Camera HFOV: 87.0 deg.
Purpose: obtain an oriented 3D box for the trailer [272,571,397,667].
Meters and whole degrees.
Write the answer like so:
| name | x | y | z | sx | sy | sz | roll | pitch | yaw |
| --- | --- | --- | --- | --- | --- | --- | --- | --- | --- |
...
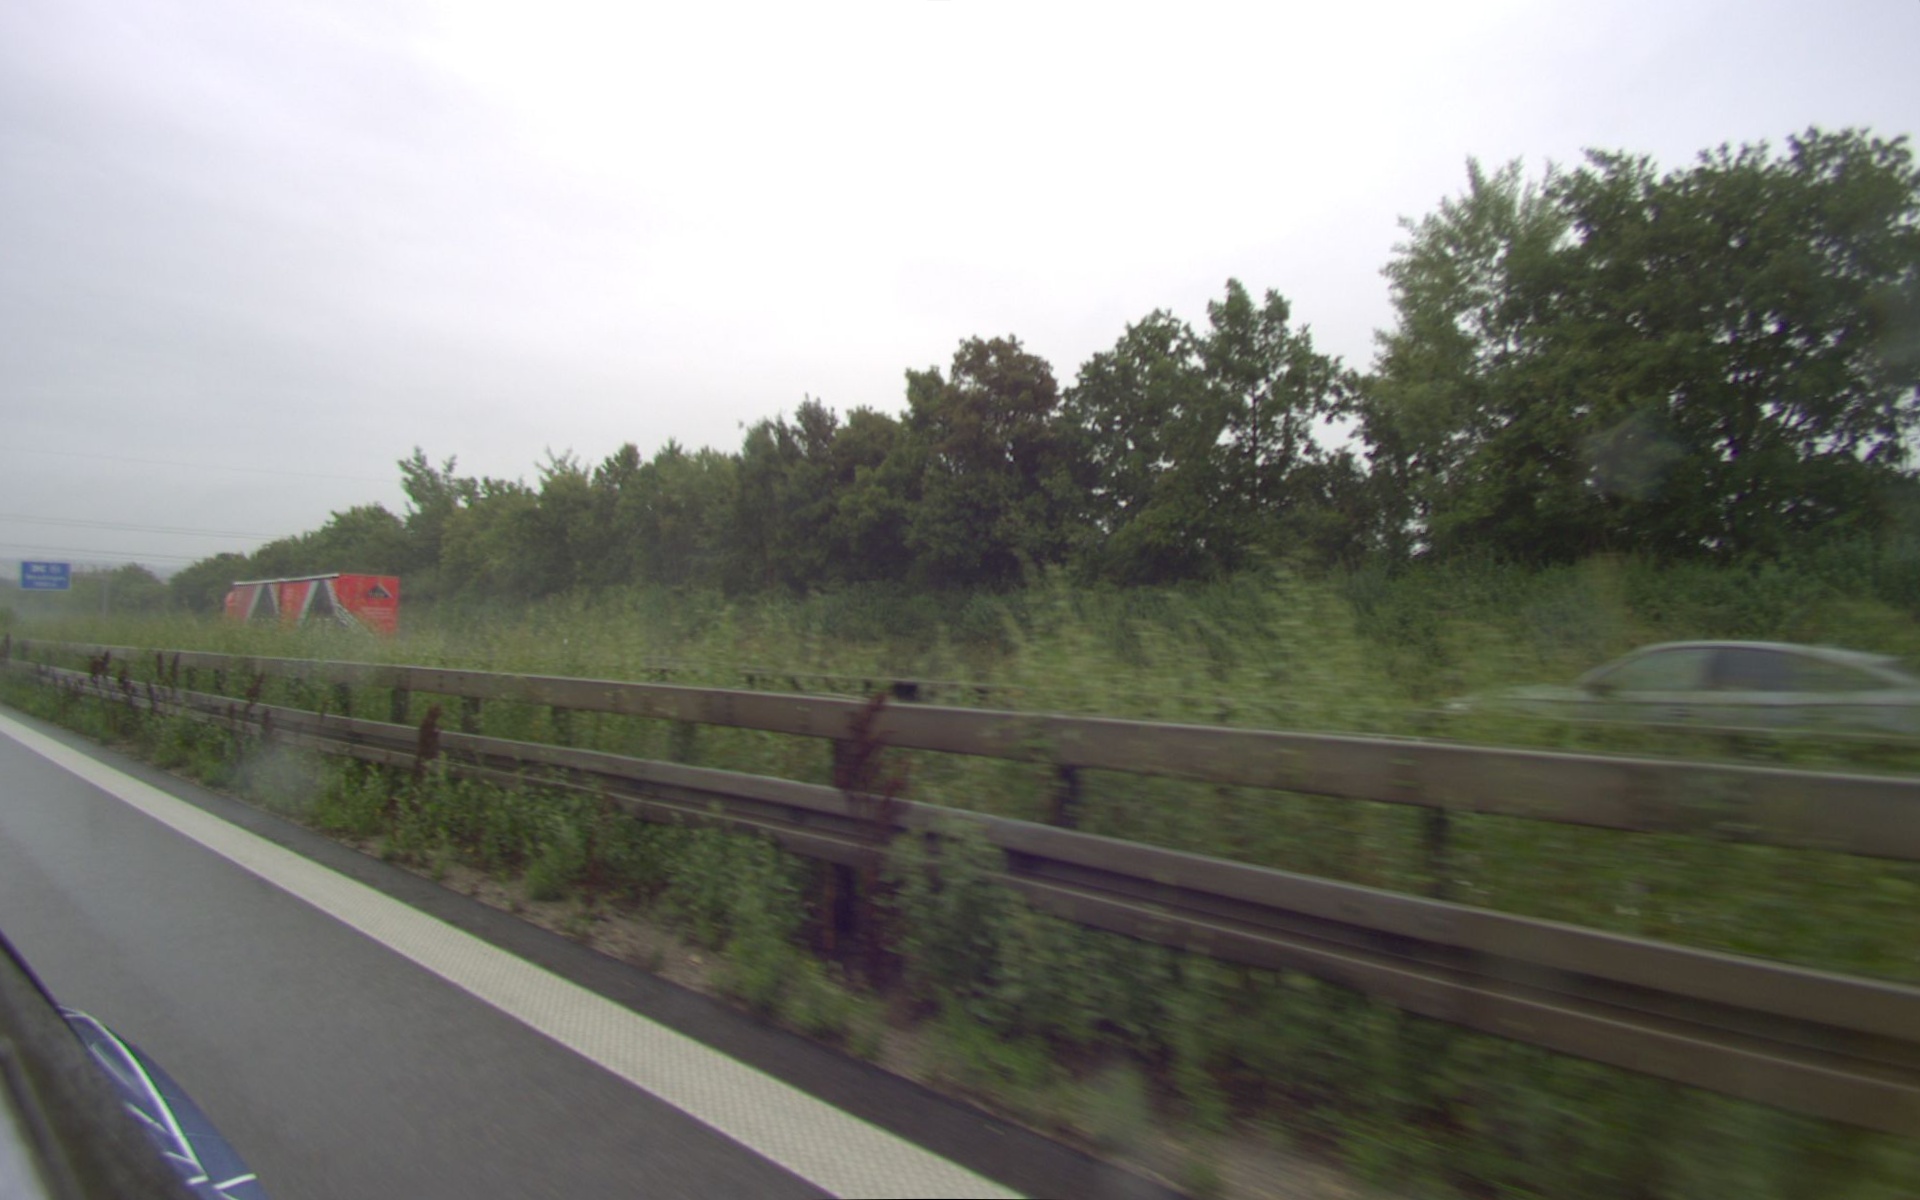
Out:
| name | x | y | z | sx | sy | sz | roll | pitch | yaw |
| --- | --- | --- | --- | --- | --- | --- | --- | --- | --- |
| trailer | -30.131 | 0.908 | 48.589 | 8.484 | 4.262 | 2.670 | -1 | -1 | 41 |

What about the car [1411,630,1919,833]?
| name | x | y | z | sx | sy | sz | roll | pitch | yaw |
| --- | --- | --- | --- | --- | --- | --- | --- | --- | --- |
| car | 7.432 | 1.167 | 10.243 | 4.955 | 1.695 | 1.777 | -1 | -3 | 41 |

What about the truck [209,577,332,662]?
| name | x | y | z | sx | sy | sz | roll | pitch | yaw |
| --- | --- | --- | --- | --- | --- | --- | --- | --- | --- |
| truck | -37.676 | 1.063 | 55.070 | 11.346 | 4.262 | 2.670 | -1 | -1 | 41 |
